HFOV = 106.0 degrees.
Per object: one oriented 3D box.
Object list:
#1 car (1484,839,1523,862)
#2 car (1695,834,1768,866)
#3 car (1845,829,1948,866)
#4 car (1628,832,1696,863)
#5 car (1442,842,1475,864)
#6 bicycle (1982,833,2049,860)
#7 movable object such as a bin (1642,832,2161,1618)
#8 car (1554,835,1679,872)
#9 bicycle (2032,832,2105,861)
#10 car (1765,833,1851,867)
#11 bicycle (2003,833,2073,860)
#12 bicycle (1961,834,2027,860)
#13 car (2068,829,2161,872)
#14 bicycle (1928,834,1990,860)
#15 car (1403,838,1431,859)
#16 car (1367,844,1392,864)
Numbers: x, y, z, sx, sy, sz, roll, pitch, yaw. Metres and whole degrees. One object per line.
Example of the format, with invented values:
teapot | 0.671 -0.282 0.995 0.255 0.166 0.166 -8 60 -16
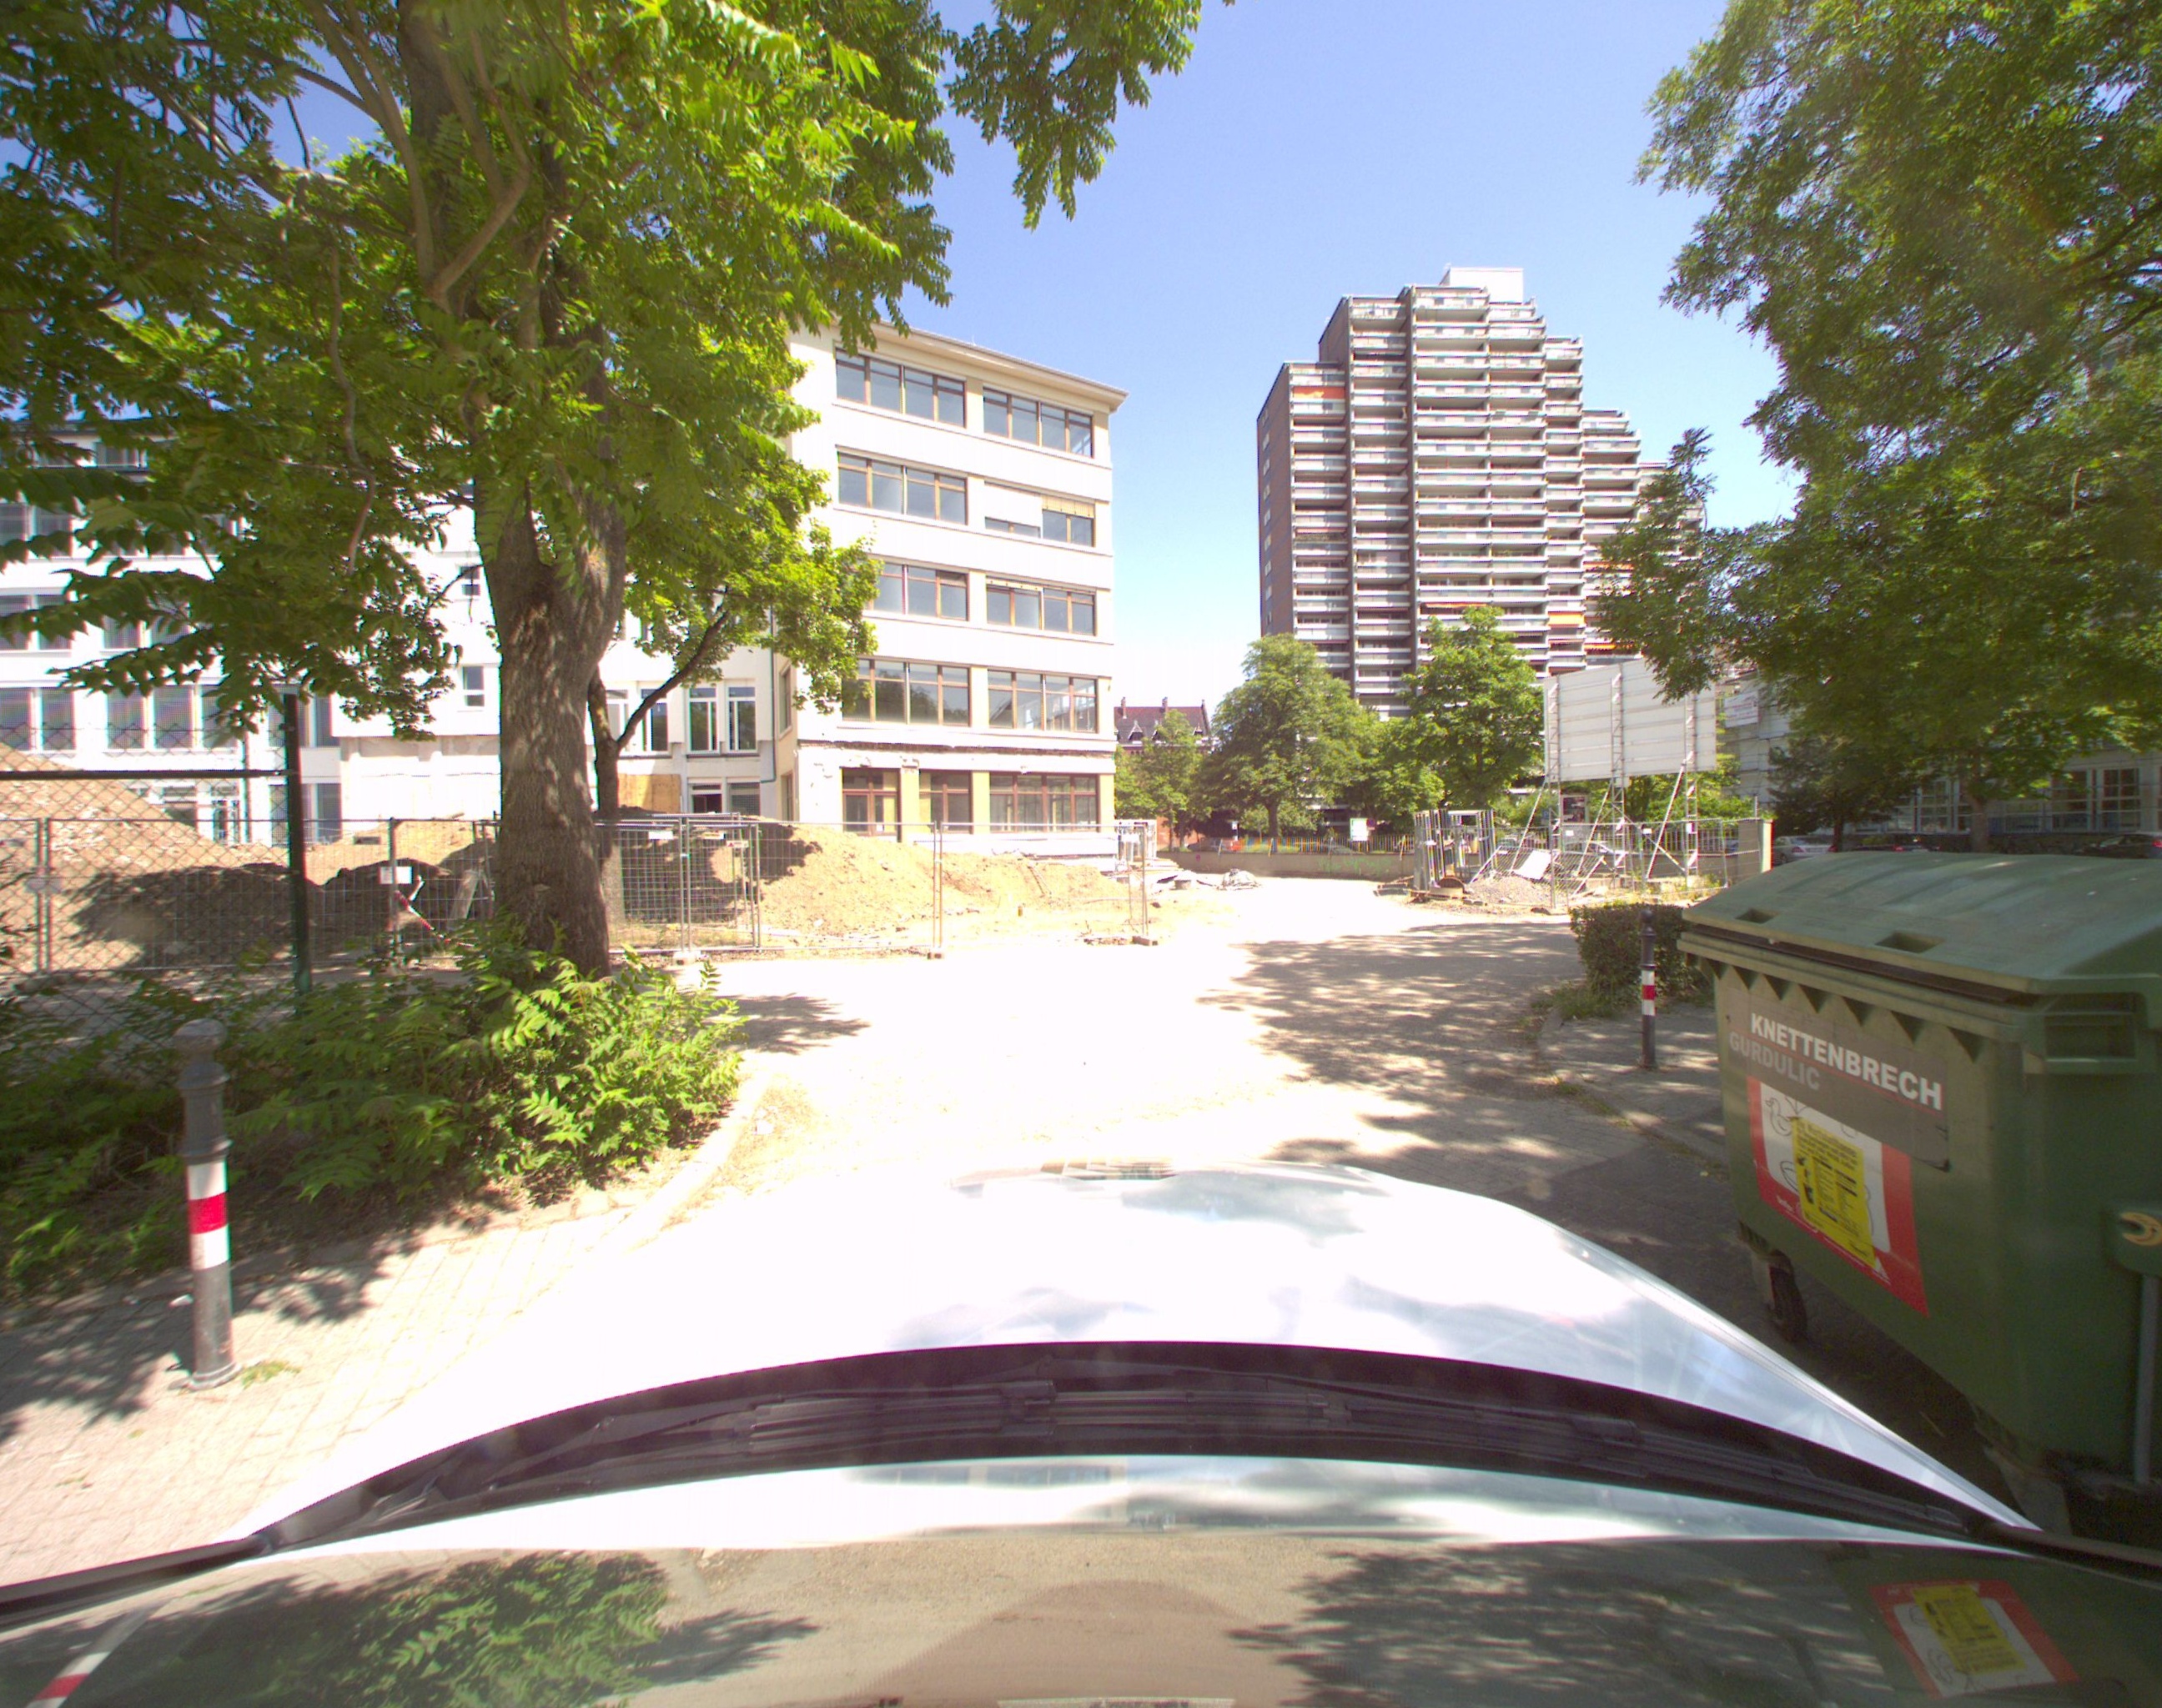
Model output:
car | 26.090 -0.219 50.392 1.619 1.387 3.696 -1 0 20
car | 31.707 -0.204 39.817 1.620 1.463 3.695 -1 0 18
car | 34.747 -0.276 34.831 1.620 1.463 3.695 -1 0 18
car | 29.794 -0.331 41.890 1.621 1.463 3.692 -1 0 14
car | 24.733 -0.097 53.485 1.619 1.387 3.696 -1 0 20
bicycle | 42.565 -0.339 37.109 2.373 1.157 0.781 -1 0 -5
movable object such as a bin | 2.448 0.689 2.126 1.171 1.470 1.337 -1 0 11
car | 22.755 -0.017 34.754 1.770 1.464 4.107 -2 1 -28
bicycle | 42.645 -0.334 35.190 2.420 1.188 0.781 -1 0 -5
car | 33.366 -0.199 37.502 1.620 1.463 3.695 -1 0 18
bicycle | 42.614 -0.325 36.271 2.373 1.157 0.781 -1 0 -5
bicycle | 42.518 -0.331 37.940 2.373 1.157 0.781 -1 0 -5
car | 38.075 -0.134 29.147 1.628 1.463 3.692 -1 0 14
bicycle | 42.389 -0.337 39.327 2.373 1.157 0.781 -1 0 -5
car | 23.271 -0.369 56.524 1.619 1.387 3.696 -1 0 20
car | 21.331 -0.019 58.214 1.619 1.387 3.696 -1 0 20
